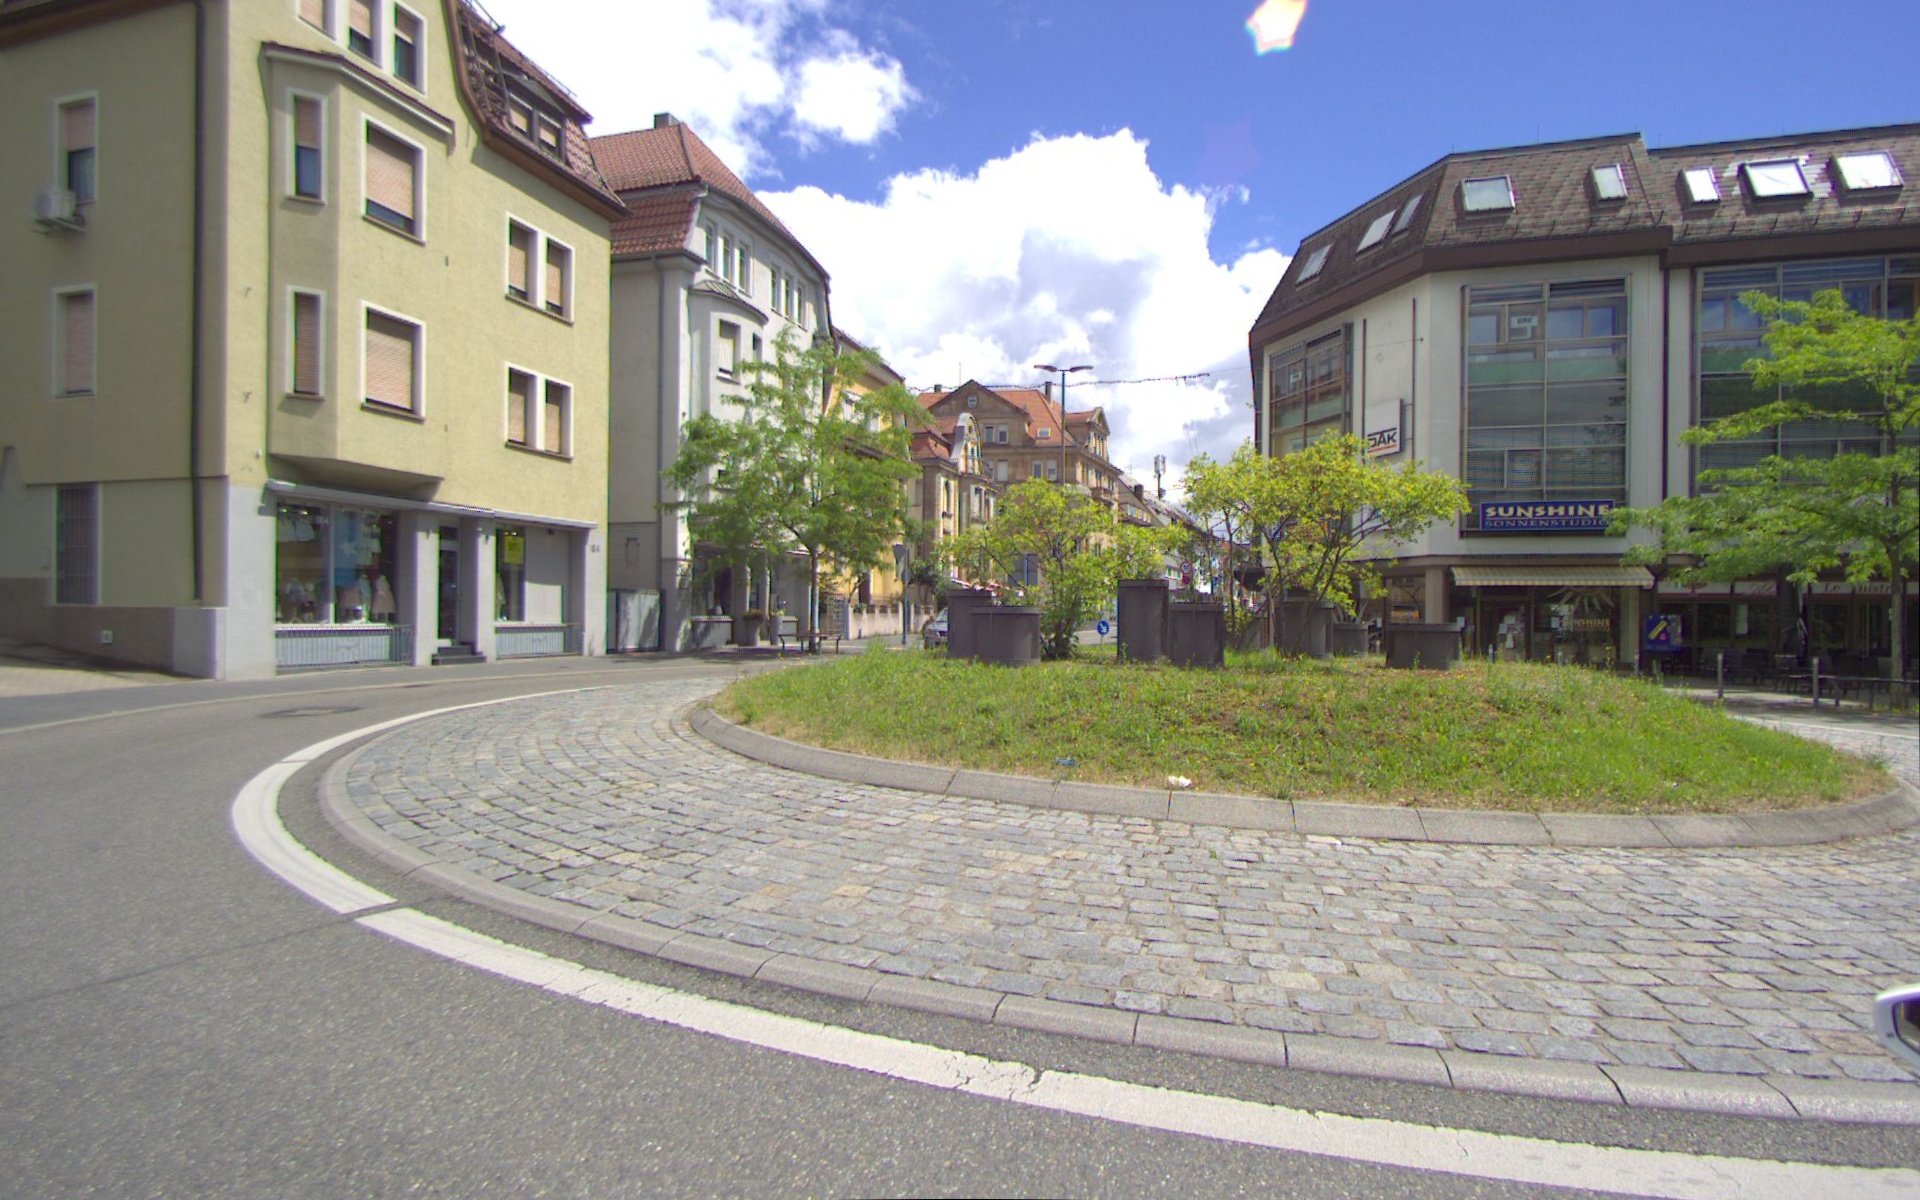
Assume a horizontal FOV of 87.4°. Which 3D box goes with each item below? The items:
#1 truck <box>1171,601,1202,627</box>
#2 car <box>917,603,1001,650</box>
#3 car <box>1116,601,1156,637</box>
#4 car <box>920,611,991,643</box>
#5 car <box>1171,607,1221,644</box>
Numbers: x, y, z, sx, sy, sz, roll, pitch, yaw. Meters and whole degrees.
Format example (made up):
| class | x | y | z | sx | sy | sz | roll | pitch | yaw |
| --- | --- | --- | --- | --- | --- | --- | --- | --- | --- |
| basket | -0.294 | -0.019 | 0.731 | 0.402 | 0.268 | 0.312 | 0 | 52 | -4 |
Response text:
| class | x | y | z | sx | sy | sz | roll | pitch | yaw |
| --- | --- | --- | --- | --- | --- | --- | --- | --- | --- |
| truck | 20.340 | 1.230 | 90.055 | 2.032 | 2.194 | 5.293 | 0 | 0 | 21 |
| car | 0.048 | 0.786 | 32.078 | 1.681 | 1.372 | 4.001 | 1 | 0 | 15 |
| car | 9.338 | 0.967 | 52.974 | 1.793 | 1.729 | 4.443 | 2 | 0 | 13 |
| car | -0.138 | 1.162 | 44.198 | 1.681 | 1.262 | 4.411 | 1 | 0 | 20 |
| car | 11.814 | 1.249 | 50.091 | 1.795 | 1.754 | 4.231 | -1 | -1 | 22 |
